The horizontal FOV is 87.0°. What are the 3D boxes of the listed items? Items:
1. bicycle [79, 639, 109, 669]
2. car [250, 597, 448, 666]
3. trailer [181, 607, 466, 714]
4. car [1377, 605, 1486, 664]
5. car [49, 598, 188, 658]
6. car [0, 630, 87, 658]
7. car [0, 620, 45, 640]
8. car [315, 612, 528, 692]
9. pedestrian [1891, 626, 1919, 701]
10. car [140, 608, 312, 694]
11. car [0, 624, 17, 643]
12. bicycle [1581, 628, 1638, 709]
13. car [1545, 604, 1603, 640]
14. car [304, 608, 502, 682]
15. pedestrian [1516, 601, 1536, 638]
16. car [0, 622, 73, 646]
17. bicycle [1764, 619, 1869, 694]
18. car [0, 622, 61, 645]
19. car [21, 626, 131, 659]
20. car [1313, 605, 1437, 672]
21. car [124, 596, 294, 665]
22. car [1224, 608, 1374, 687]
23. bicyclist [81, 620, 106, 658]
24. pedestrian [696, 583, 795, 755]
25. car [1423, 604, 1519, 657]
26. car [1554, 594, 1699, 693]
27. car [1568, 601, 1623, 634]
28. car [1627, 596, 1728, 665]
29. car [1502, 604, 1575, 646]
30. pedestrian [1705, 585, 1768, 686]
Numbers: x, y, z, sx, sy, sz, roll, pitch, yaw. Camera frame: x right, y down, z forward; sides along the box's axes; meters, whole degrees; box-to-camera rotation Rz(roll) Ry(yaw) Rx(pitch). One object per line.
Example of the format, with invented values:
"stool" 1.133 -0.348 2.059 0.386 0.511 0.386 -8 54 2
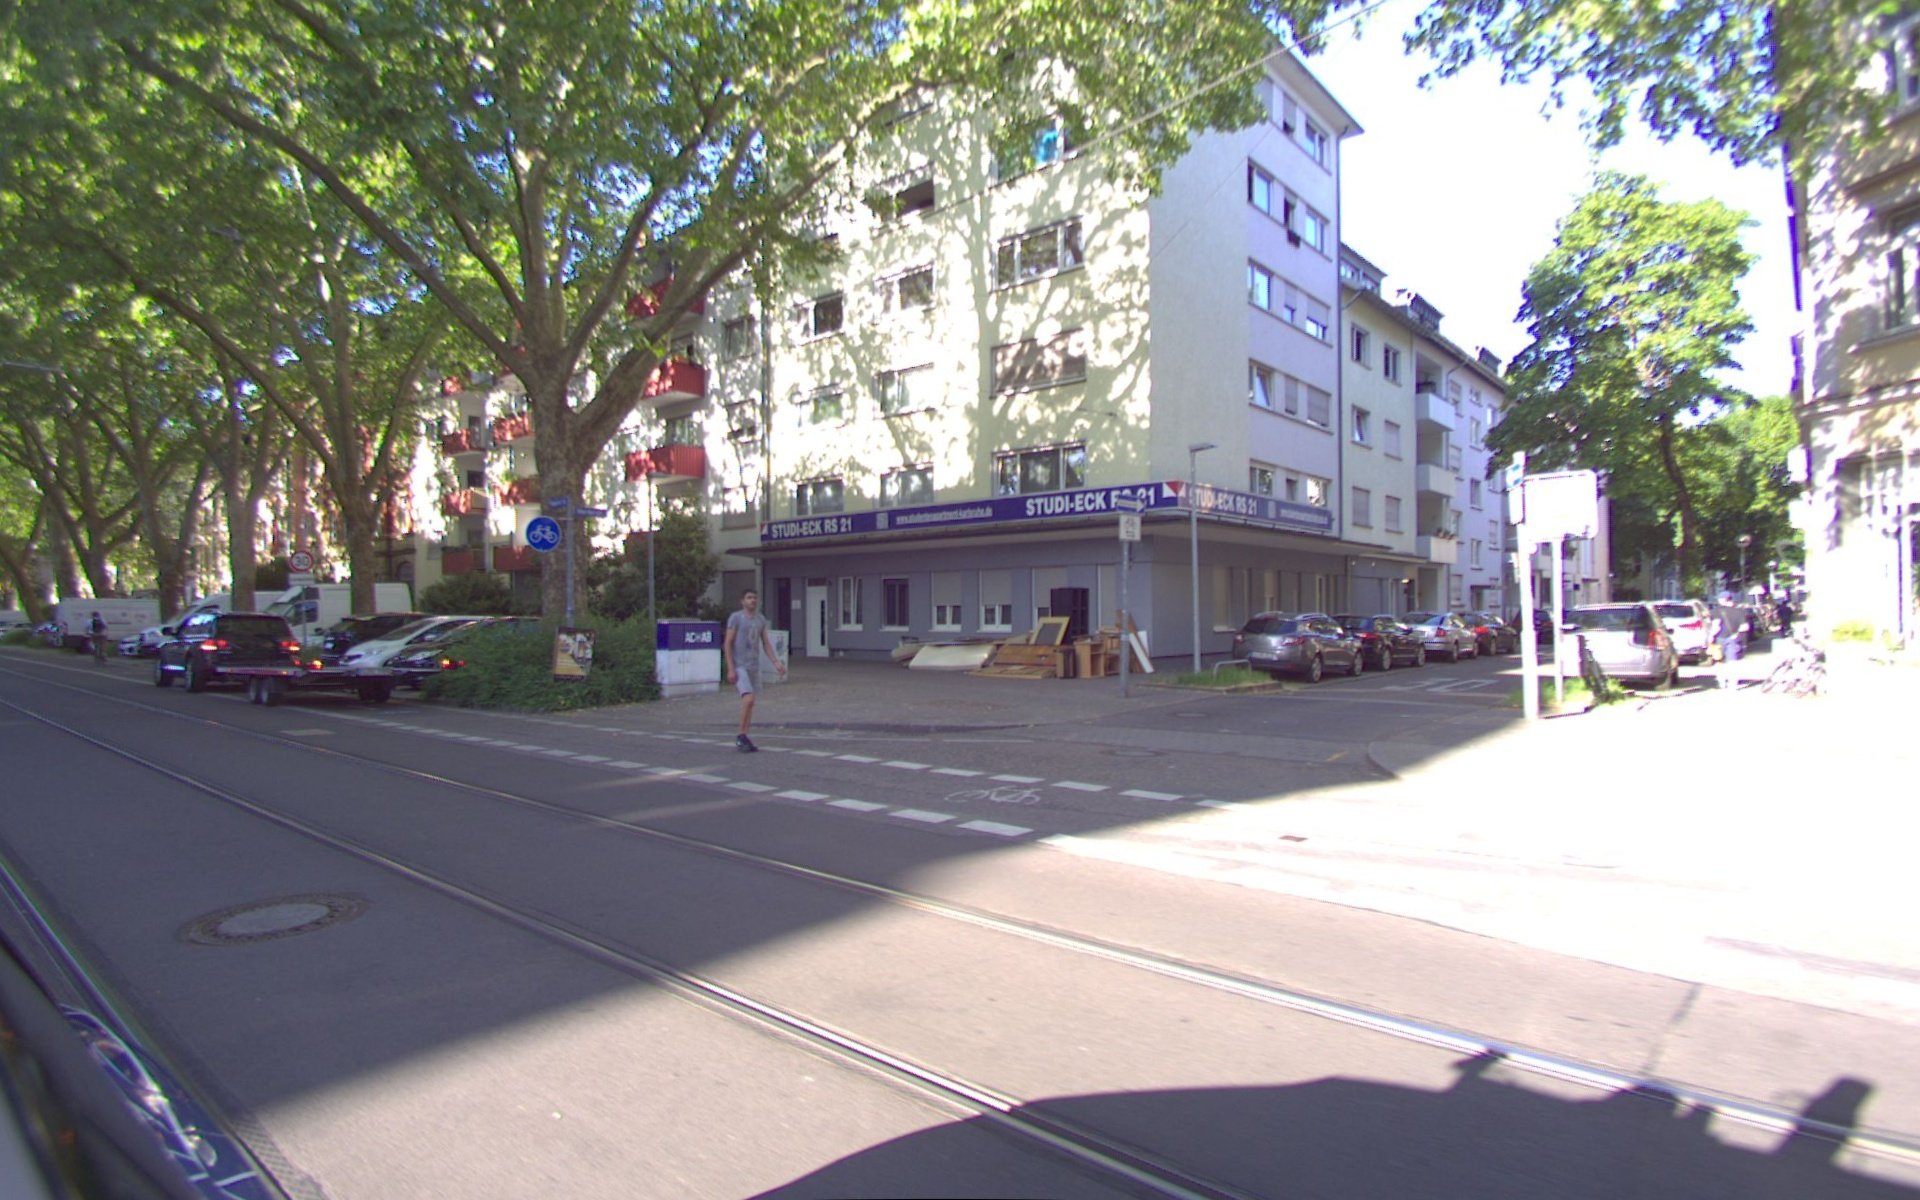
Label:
"bicycle" -28.404 1.754 33.176 1.556 0.913 0.527 -1 0 41
"car" -19.435 0.923 32.434 1.996 2.010 5.075 -1 0 36
"trailer" -11.893 1.028 18.666 6.577 1.644 2.422 -1 -3 39
"car" 14.205 0.978 30.398 1.998 1.618 4.100 -1 0 40
"car" -38.288 1.217 46.124 1.999 2.552 4.602 -1 0 40
"car" -53.948 2.545 59.333 1.998 1.478 3.948 -1 0 39
"car" -74.368 2.370 79.115 1.998 1.478 3.948 -1 0 39
"car" -12.390 1.118 23.479 1.907 1.622 3.948 -1 0 39
"pedestrian" 13.948 0.913 14.596 0.539 1.048 0.542 -1 0 7
"car" -16.047 1.077 22.064 4.177 1.696 1.974 -1 -3 39
"car" -79.605 2.791 82.390 1.791 1.478 3.948 -1 0 39
"bicycle" 9.588 0.977 14.962 0.654 1.070 1.847 -1 0 32
"car" 30.364 1.059 49.996 1.835 1.618 4.100 -1 0 40
"car" -14.028 1.067 25.630 1.998 1.657 3.948 -1 0 39
"pedestrian" 27.486 0.924 49.141 0.723 1.793 0.661 0 0 38
"car" -61.171 2.230 66.600 1.998 1.478 3.948 -1 0 39
"bicycle" 13.711 0.884 16.260 0.652 1.070 1.854 -4 -1 22
"car" -63.788 2.264 68.664 1.998 1.478 3.948 -1 0 39
"car" -45.095 2.124 51.675 1.998 1.478 3.948 -1 0 39
"car" 11.011 0.979 26.696 1.895 1.619 4.100 -1 -1 40
"car" -27.050 1.033 36.587 1.999 2.323 4.602 -1 0 40
"car" 7.713 0.989 22.816 1.833 1.488 4.100 3 2 40
"bicyclist" -28.412 1.282 33.180 0.665 1.222 0.527 -1 0 41
"pedestrian" -2.345 0.724 11.099 0.798 1.805 0.693 -1 0 28
"car" 17.237 0.984 34.045 1.998 1.618 4.100 -1 0 40
"car" 12.815 0.780 19.359 1.798 1.650 3.961 -6 -3 40
"car" 34.042 0.914 54.175 1.931 1.618 4.100 -1 0 40
"car" 19.330 0.744 27.206 1.892 1.684 4.100 -1 0 40
"car" 24.612 1.019 43.011 1.998 1.618 4.100 -1 0 40
"pedestrian" 13.590 0.601 17.739 0.796 1.721 0.775 -1 0 34
